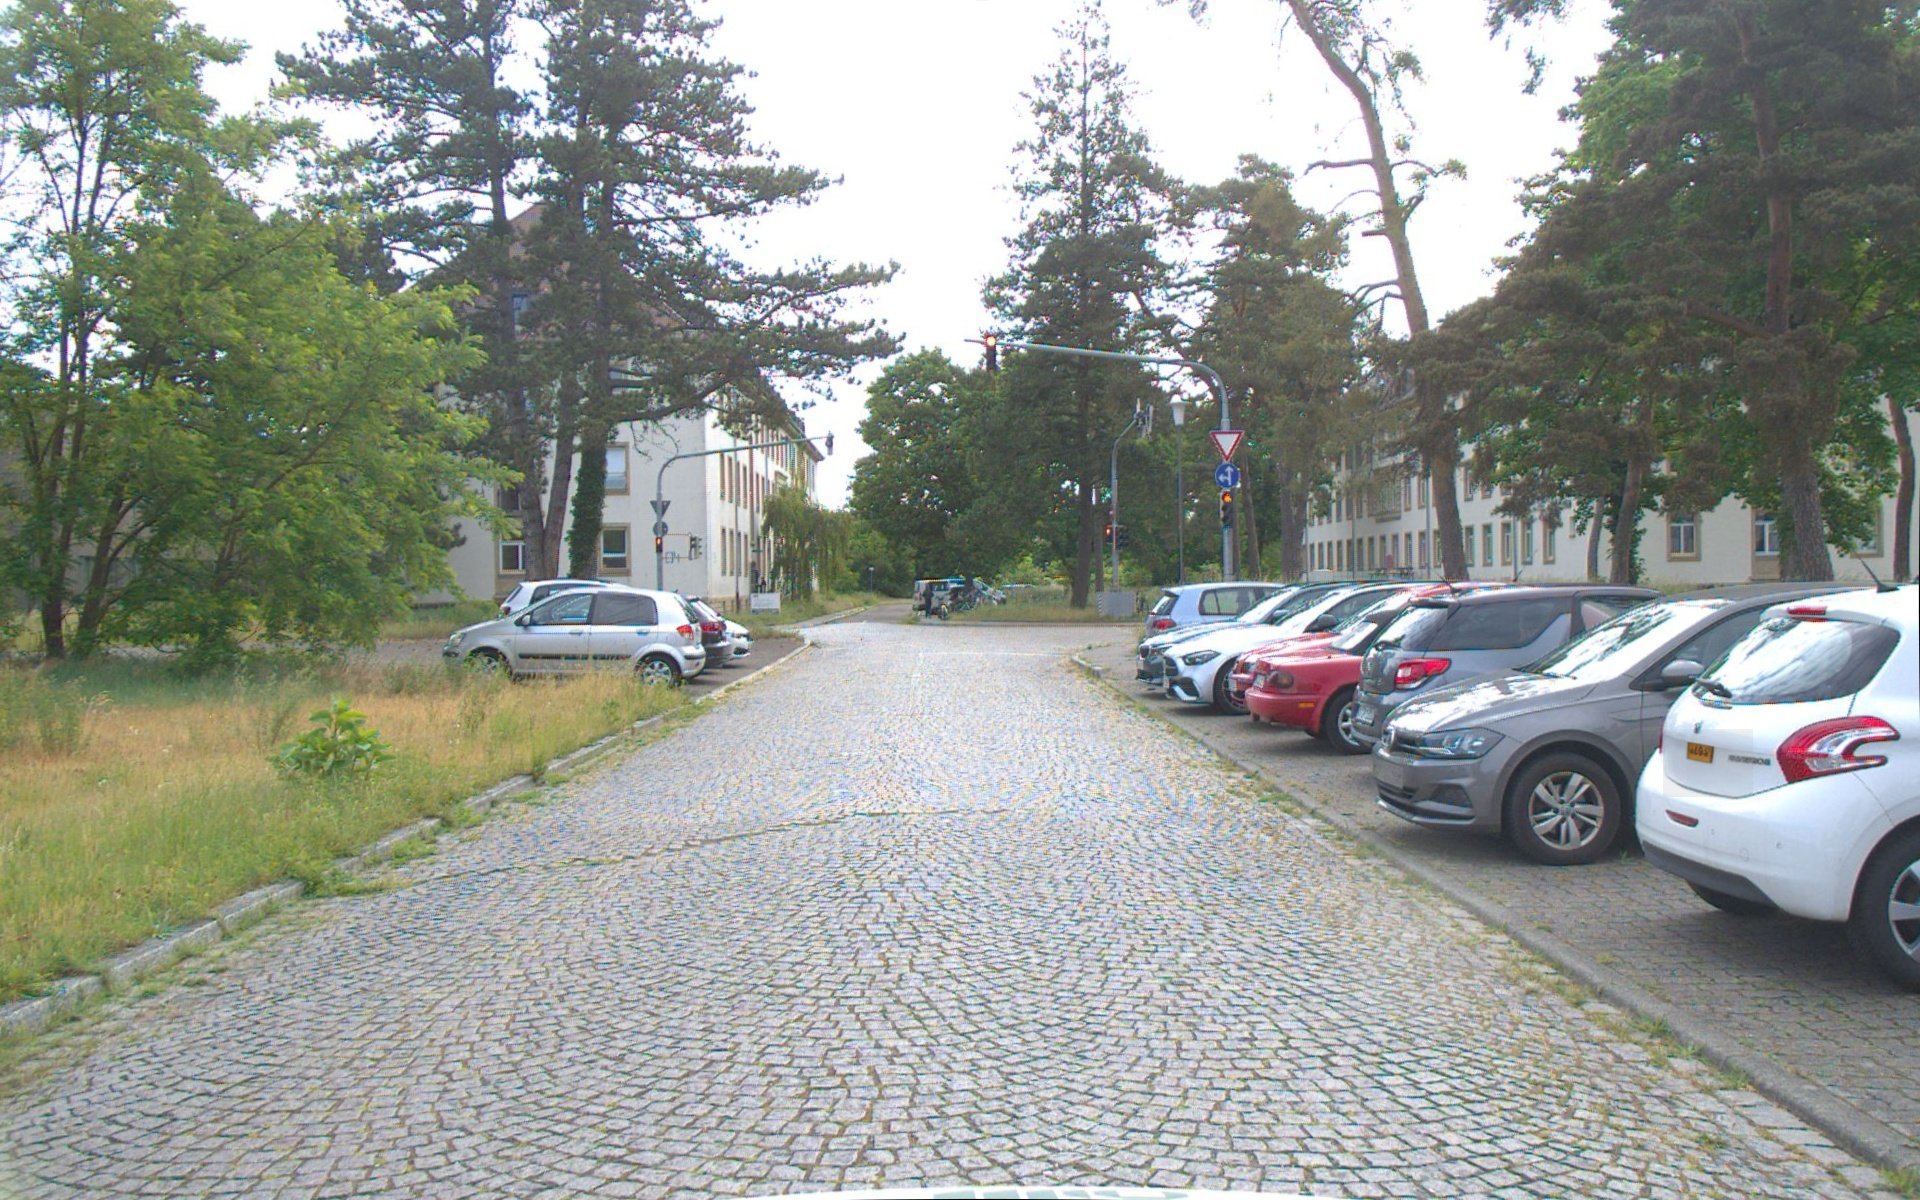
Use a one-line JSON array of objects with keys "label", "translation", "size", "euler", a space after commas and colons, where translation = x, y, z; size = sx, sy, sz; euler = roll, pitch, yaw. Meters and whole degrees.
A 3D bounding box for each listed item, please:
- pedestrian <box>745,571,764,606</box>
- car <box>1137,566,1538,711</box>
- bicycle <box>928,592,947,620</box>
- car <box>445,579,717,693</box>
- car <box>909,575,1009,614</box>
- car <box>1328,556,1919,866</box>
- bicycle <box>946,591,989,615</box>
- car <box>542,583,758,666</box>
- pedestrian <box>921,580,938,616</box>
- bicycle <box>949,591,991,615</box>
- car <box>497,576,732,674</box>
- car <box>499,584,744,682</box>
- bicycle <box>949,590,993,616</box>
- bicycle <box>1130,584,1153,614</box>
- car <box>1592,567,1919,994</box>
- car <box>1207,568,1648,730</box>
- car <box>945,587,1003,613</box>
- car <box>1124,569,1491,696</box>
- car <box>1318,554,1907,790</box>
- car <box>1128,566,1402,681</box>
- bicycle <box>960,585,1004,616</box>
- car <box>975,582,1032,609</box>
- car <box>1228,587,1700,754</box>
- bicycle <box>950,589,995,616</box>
[{"label": "pedestrian", "translation": [-11.133, -0.639, 89.522], "size": [0.766, 1.869, 0.733], "euler": [-1, 0, -32]}, {"label": "car", "translation": [4.525, 0.425, 20.090], "size": [4.342, 1.441, 1.867], "euler": [-3, 1, -10]}, {"label": "bicycle", "translation": [-0.975, 0.246, 70.777], "size": [0.591, 1.152, 1.959], "euler": [-1, 1, -6]}, {"label": "car", "translation": [-5.478, 0.511, 24.239], "size": [3.630, 1.505, 1.581], "euler": [2, 0, -4]}, {"label": "car", "translation": [-0.089, -0.311, 92.073], "size": [5.263, 1.958, 2.020], "euler": [-2, 1, -10]}, {"label": "car", "translation": [4.330, 0.567, 9.835], "size": [3.787, 1.497, 1.756], "euler": [-3, 1, -5]}, {"label": "bicycle", "translation": [0.354, 0.129, 76.114], "size": [1.935, 1.088, 0.582], "euler": [-1, 0, -31]}, {"label": "car", "translation": [-5.961, 0.456, 32.149], "size": [3.868, 1.446, 1.650], "euler": [2, 0, -2]}, {"label": "pedestrian", "translation": [-1.416, -0.114, 76.481], "size": [0.723, 1.646, 0.776], "euler": [-1, 0, 1]}, {"label": "bicycle", "translation": [0.483, 0.119, 77.467], "size": [1.935, 1.088, 0.582], "euler": [-1, 0, -31]}, {"label": "car", "translation": [-6.119, 0.438, 29.604], "size": [3.870, 1.590, 1.649], "euler": [2, 0, -4]}, {"label": "car", "translation": [-5.420, 0.517, 26.838], "size": [3.672, 1.453, 1.581], "euler": [2, 0, -4]}, {"label": "bicycle", "translation": [0.480, 0.115, 74.633], "size": [1.918, 1.136, 0.587], "euler": [-1, 0, -8]}, {"label": "bicycle", "translation": [6.800, -0.044, 62.005], "size": [0.574, 1.125, 1.961], "euler": [-1, 1, -1]}, {"label": "car", "translation": [4.918, 0.584, 6.979], "size": [3.785, 1.497, 1.757], "euler": [-3, 1, -2]}, {"label": "car", "translation": [4.923, 0.490, 17.830], "size": [4.176, 1.441, 1.871], "euler": [-3, 1, -1]}, {"label": "car", "translation": [0.747, -0.017, 88.717], "size": [2.948, 1.290, 1.533], "euler": [-1, 0, -7]}, {"label": "car", "translation": [4.698, 0.420, 22.781], "size": [4.588, 1.441, 1.870], "euler": [-3, 1, -3]}, {"label": "car", "translation": [4.877, 0.499, 12.717], "size": [3.785, 1.497, 1.757], "euler": [-3, 1, -2]}, {"label": "car", "translation": [4.585, 0.334, 25.230], "size": [3.846, 1.503, 1.642], "euler": [-3, 1, 1]}, {"label": "bicycle", "translation": [0.997, 0.018, 75.473], "size": [1.918, 1.408, 0.587], "euler": [-1, 0, -8]}, {"label": "car", "translation": [2.533, -0.268, 96.002], "size": [3.168, 1.441, 1.724], "euler": [-1, 0, -4]}, {"label": "car", "translation": [4.555, 0.604, 15.322], "size": [3.785, 1.257, 1.757], "euler": [-3, 1, -2]}, {"label": "bicycle", "translation": [0.552, 0.095, 74.001], "size": [1.918, 1.152, 0.587], "euler": [-1, 0, -8]}]
